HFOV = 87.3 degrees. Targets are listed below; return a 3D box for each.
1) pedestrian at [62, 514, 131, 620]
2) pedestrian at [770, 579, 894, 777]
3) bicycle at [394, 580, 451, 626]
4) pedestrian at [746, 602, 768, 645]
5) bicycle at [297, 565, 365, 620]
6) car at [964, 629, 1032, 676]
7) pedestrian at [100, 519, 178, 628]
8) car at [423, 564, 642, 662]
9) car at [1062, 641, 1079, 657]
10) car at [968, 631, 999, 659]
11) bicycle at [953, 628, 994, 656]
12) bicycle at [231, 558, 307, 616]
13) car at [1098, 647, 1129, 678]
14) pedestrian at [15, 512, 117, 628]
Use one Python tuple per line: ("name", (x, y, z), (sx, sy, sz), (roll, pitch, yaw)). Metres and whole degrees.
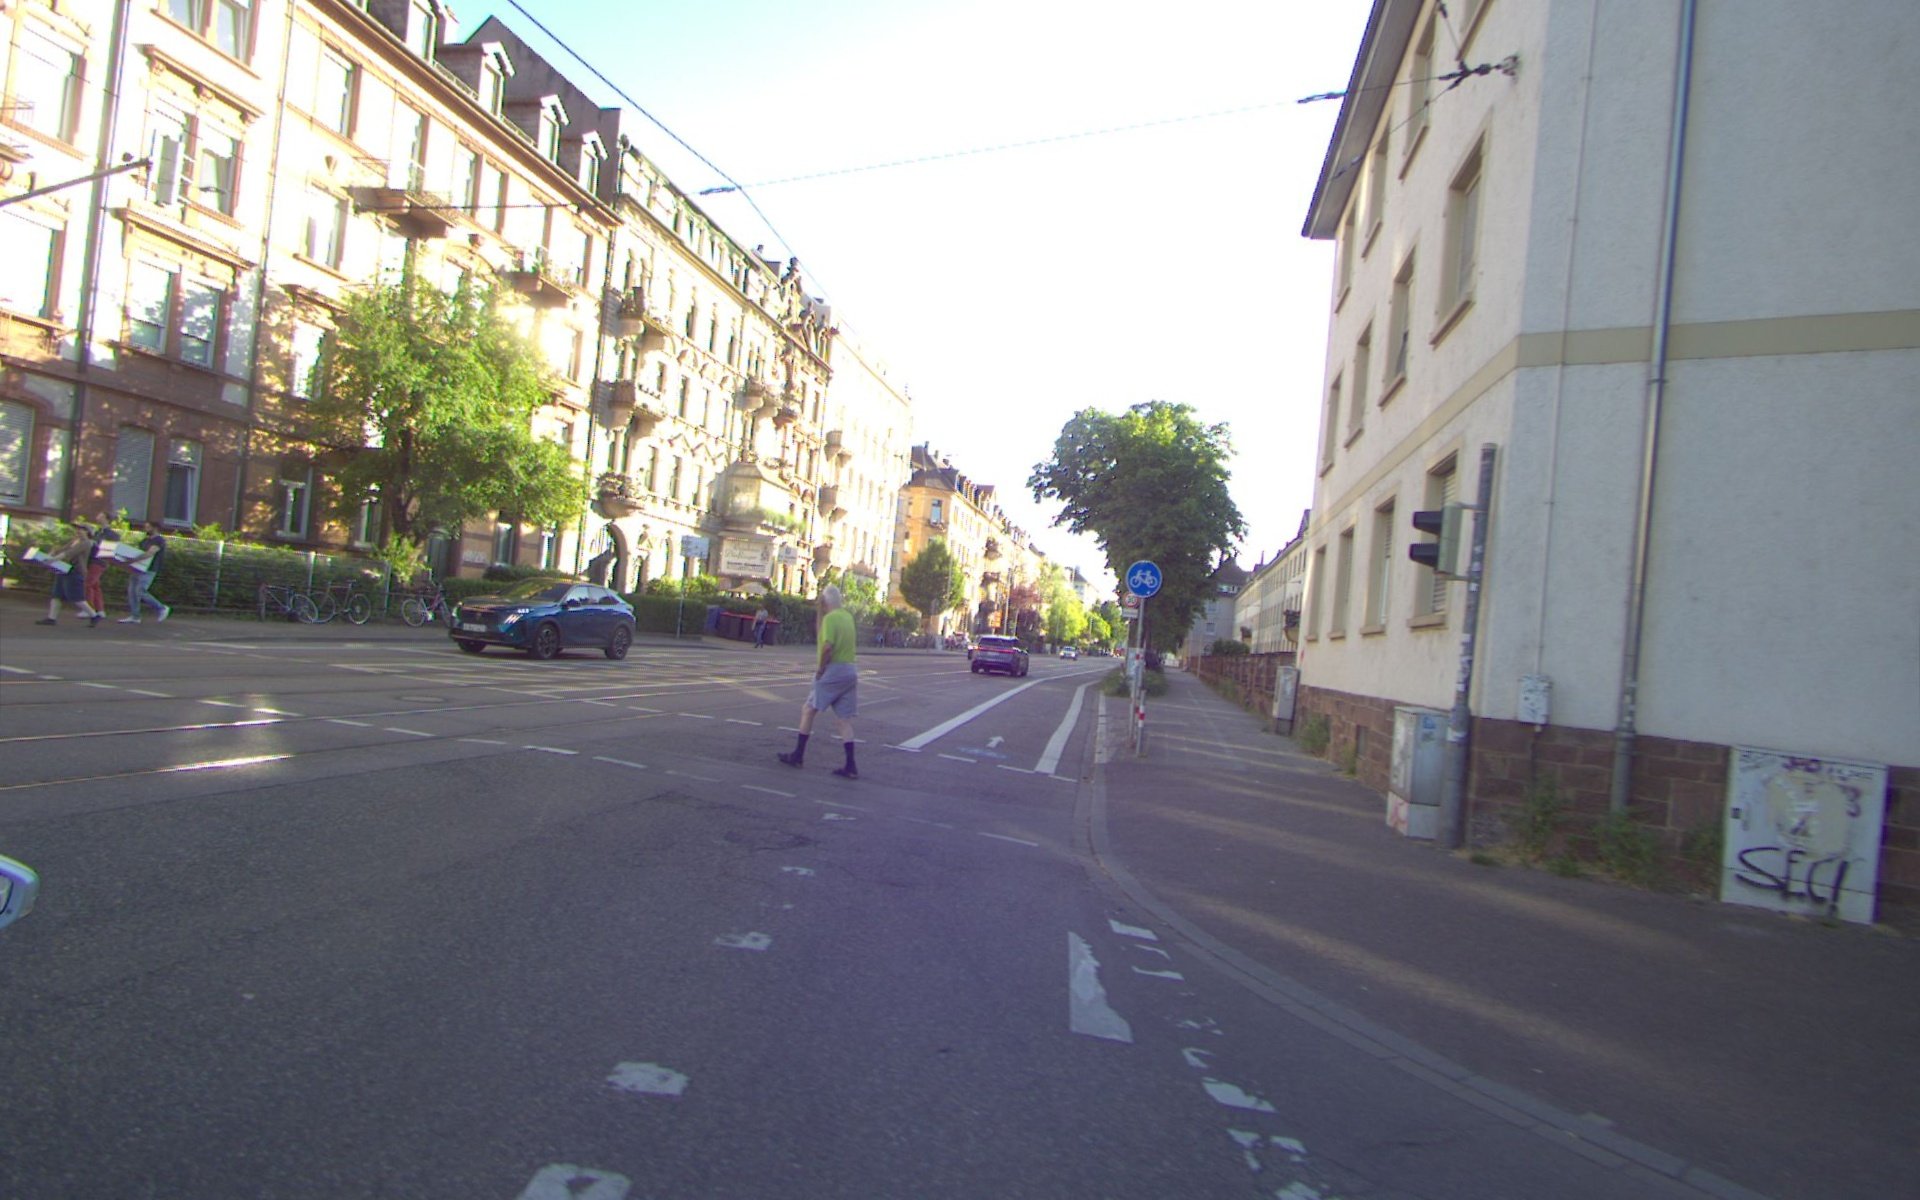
("pedestrian", (-14.786, -0.554, 17.232), (0.512, 1.736, 0.636), (5, 0, 25))
("pedestrian", (-1.242, 0.729, 9.642), (0.639, 1.748, 0.880), (8, 0, -33))
("bicycle", (-13.315, 0.098, 24.949), (0.435, 1.051, 1.234), (6, 0, 17))
("pedestrian", (-8.045, 0.932, 39.896), (0.516, 1.661, 0.495), (5, 0, 23))
("bicycle", (-14.014, -0.148, 22.441), (0.435, 1.121, 1.234), (6, 0, 18))
("car", (1.571, 2.042, 39.971), (1.938, 1.605, 4.478), (5, -1, 11))
("pedestrian", (-14.029, -0.449, 17.196), (0.652, 1.735, 0.636), (7, -1, 25))
("car", (-8.764, 0.318, 21.098), (1.911, 1.670, 4.413), (5, -1, 12))
("car", (12.448, 5.448, 112.992), (1.569, 1.630, 3.603), (5, -1, 8))
("car", (1.447, 2.744, 61.564), (1.507, 1.543, 3.478), (5, -1, 6))
("bicycle", (1.123, 3.434, 82.646), (3.184, 2.042, 0.932), (5, 0, 7))
("bicycle", (-14.465, -0.255, 21.091), (0.435, 1.121, 1.234), (6, 0, 18))
("car", (8.404, 3.387, 55.114), (1.523, 1.457, 3.839), (5, -1, 8))
("pedestrian", (-14.090, -0.461, 15.870), (0.700, 1.686, 0.896), (8, 1, 29))
